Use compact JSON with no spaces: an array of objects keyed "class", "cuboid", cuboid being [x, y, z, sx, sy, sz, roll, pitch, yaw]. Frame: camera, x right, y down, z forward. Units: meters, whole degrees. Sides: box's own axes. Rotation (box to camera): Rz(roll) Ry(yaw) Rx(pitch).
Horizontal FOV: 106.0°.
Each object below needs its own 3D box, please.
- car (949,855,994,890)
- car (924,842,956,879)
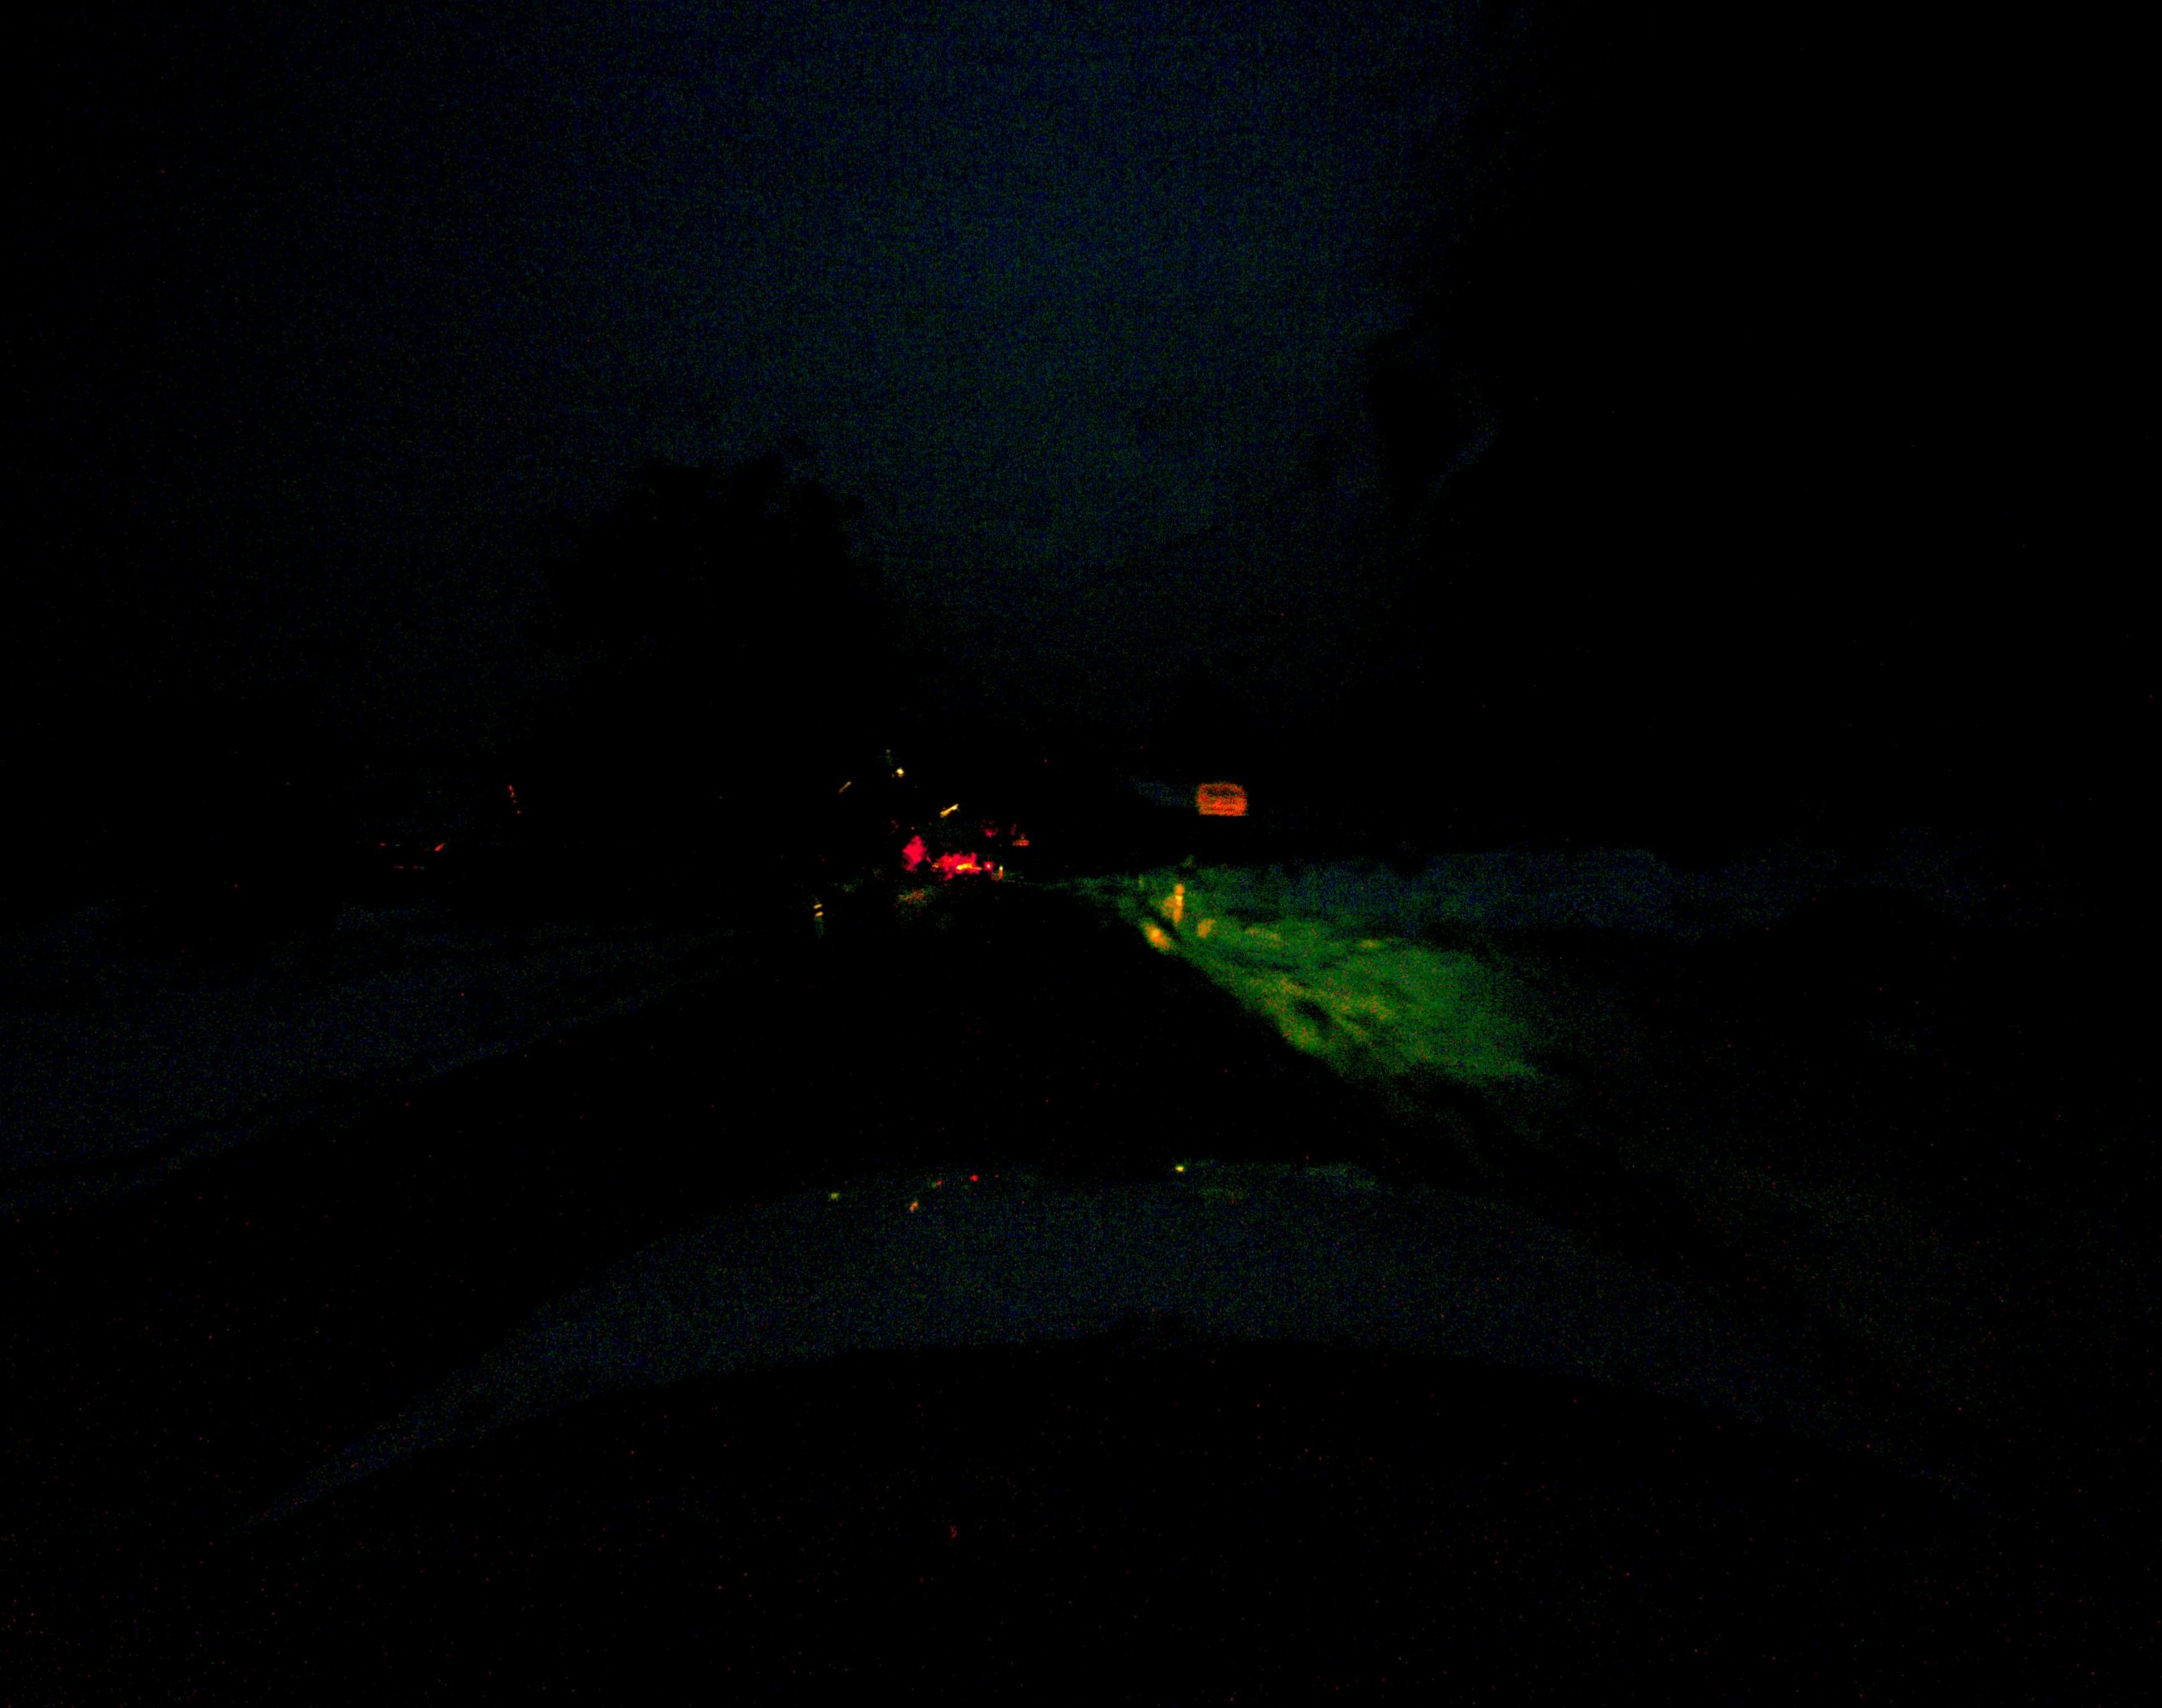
[{"class":"car","cuboid":[-6.279,0.978,46.398,2.275,1.840,4.988,-1,0,-11]},{"class":"car","cuboid":[-11.823,0.598,68.664,2.434,3.019,5.309,-1,-1,-8]}]
